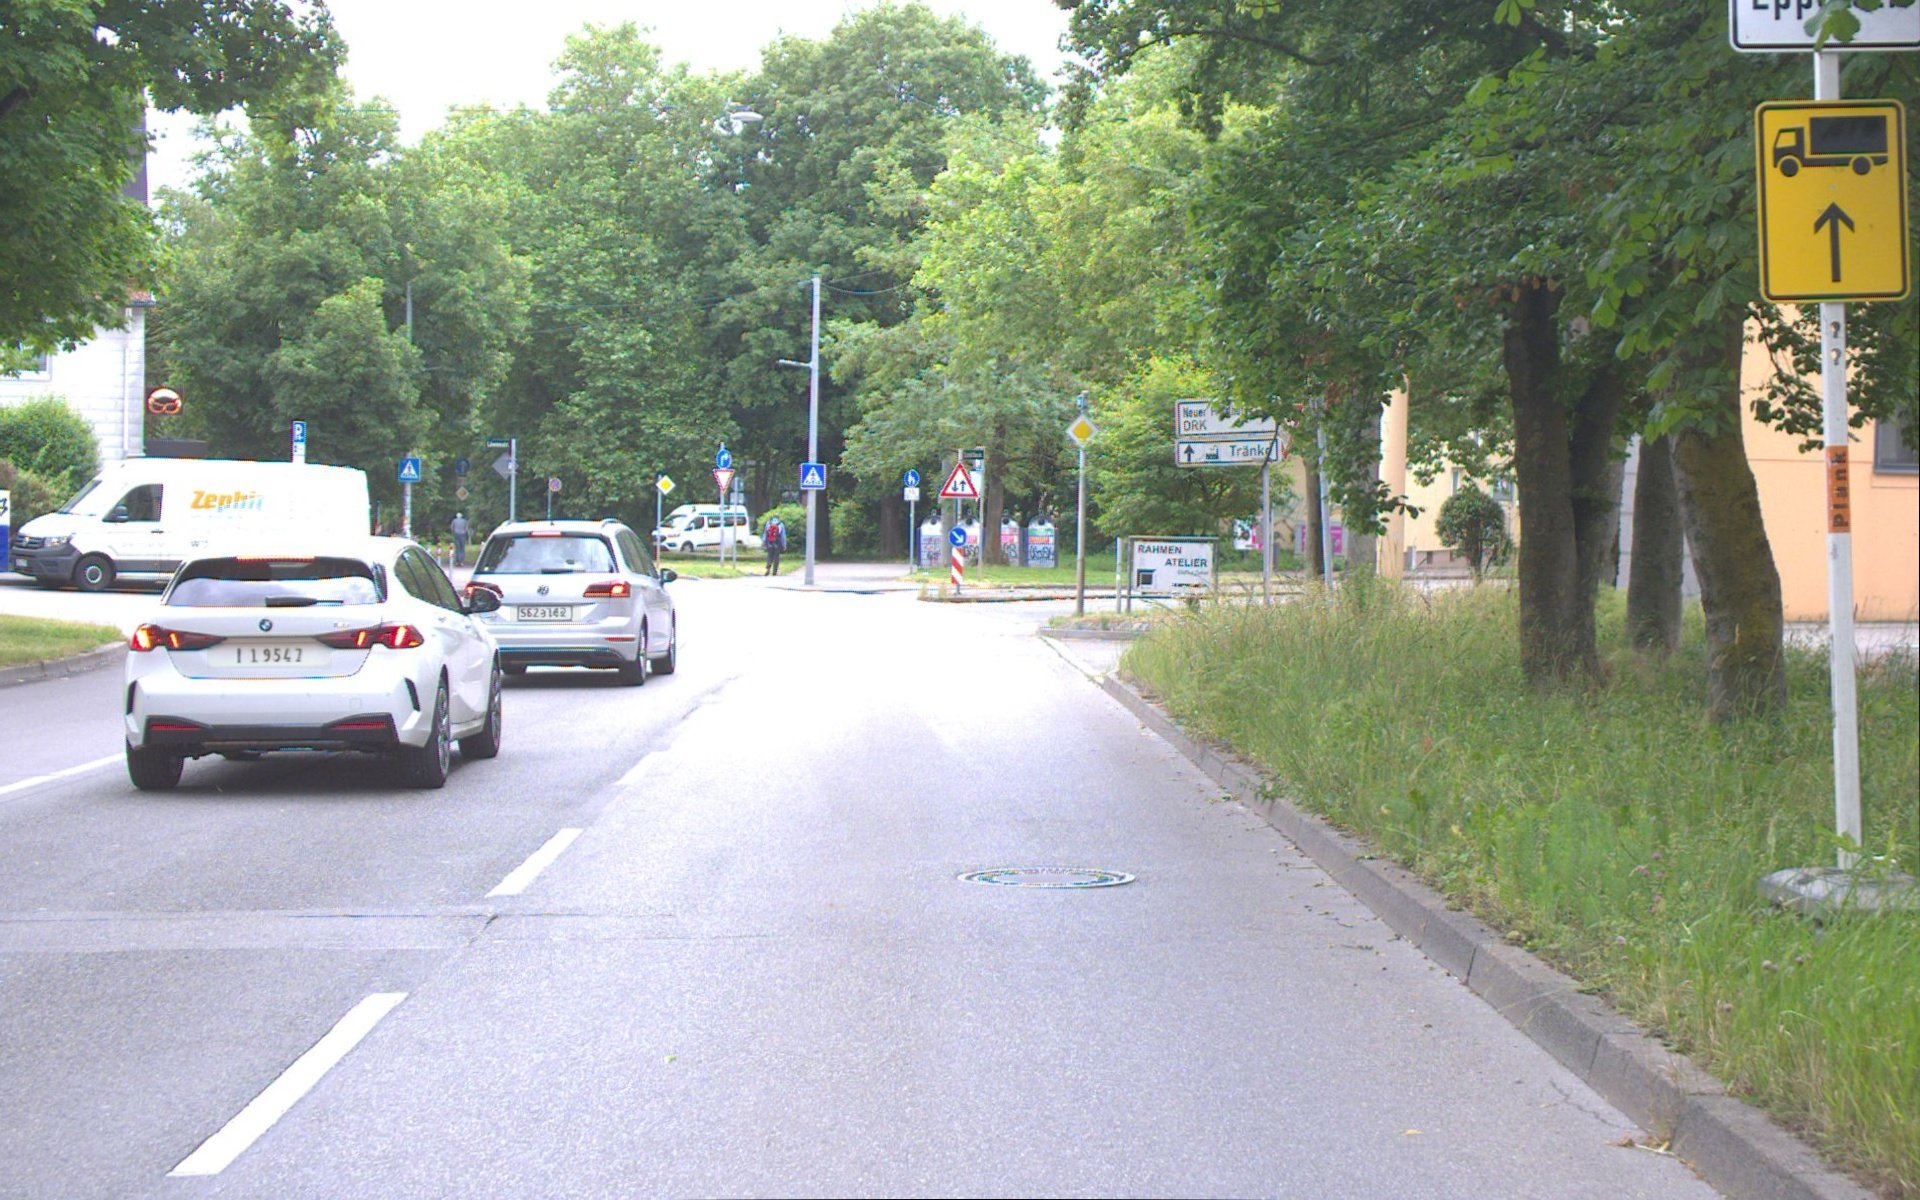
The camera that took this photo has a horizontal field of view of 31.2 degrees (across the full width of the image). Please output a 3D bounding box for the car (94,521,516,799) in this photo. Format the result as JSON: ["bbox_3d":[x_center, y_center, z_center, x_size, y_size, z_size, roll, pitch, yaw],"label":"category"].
[{"bbox_3d":[-3.883,0.291,21.062,1.795,1.512,4.207,-1,1,0],"label":"car"}]

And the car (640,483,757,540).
[{"bbox_3d":[-11.898,-4.043,156.718,2.136,2.289,5.373,6,3,38],"label":"car"}]

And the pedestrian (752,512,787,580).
[{"bbox_3d":[-5.520,-1.575,99.542,0.923,1.865,1.019,-3,4,-4],"label":"pedestrian"}]

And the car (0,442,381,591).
[{"bbox_3d":[-14.637,-1.563,65.178,6.959,2.513,2.085,1,3,-38],"label":"car"}]

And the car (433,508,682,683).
[{"bbox_3d":[-3.897,-0.096,33.895,1.923,1.568,4.000,1,2,0],"label":"car"}]
